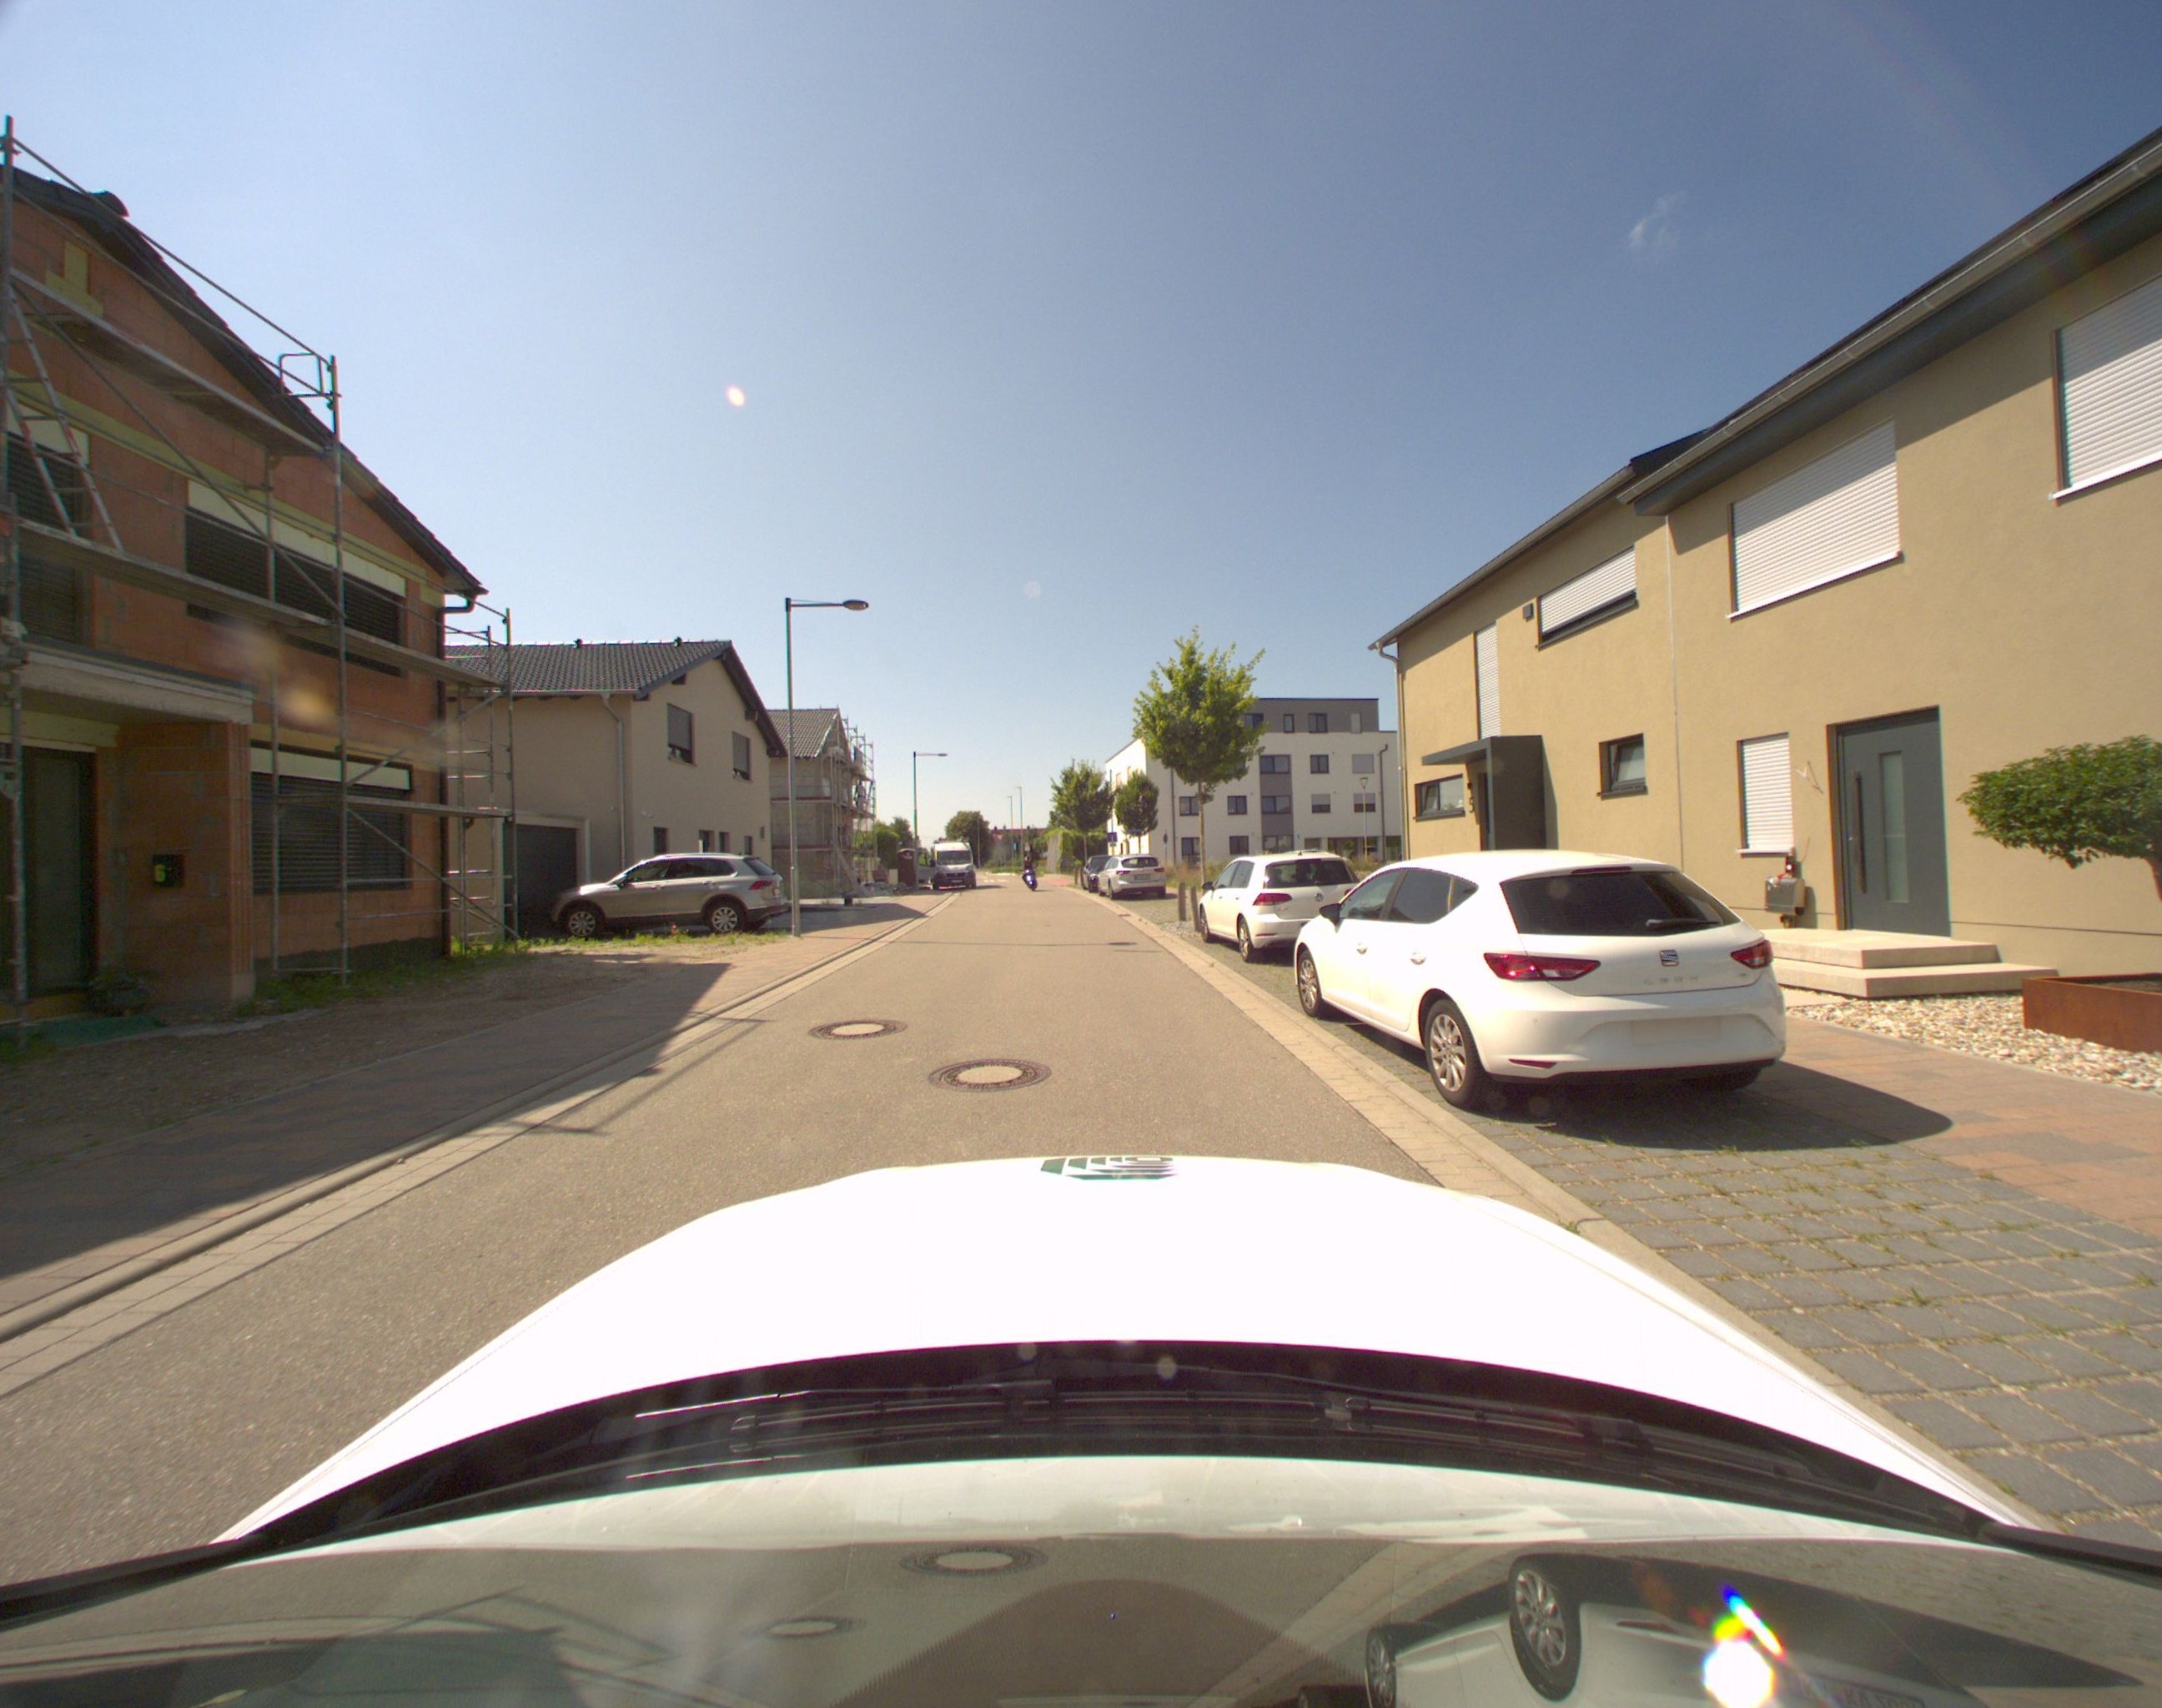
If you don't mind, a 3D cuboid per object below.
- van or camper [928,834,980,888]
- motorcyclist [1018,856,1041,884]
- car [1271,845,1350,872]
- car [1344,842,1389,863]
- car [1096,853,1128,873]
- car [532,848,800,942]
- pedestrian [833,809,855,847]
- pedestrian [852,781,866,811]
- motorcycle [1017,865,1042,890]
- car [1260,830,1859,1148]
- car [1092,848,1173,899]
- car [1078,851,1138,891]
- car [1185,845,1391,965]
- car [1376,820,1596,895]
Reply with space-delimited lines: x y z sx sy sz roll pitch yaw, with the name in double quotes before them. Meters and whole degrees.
"van or camper" -6.778 0.377 42.841 2.275 2.553 6.340 -2 -1 -12
"motorcyclist" -2.349 0.702 37.002 0.924 1.222 0.801 -2 0 -8
"car" 13.806 0.274 49.094 4.156 1.435 1.877 -2 -1 -9
"car" 22.655 -0.136 64.726 1.875 1.503 3.669 -2 -1 -7
"car" 2.312 0.650 61.251 1.677 1.469 4.104 -1 0 -9
"car" -8.351 0.780 16.791 4.420 1.612 1.996 -2 0 -7
"pedestrian" -11.004 -1.204 37.846 0.571 1.680 0.753 -5 -3 41
"pedestrian" -11.773 -3.061 43.187 0.561 1.500 0.746 -2 -2 -8
"motorcycle" -2.356 1.042 37.159 0.955 1.035 2.430 -2 1 -7
"car" 2.886 0.668 6.312 1.809 1.456 4.561 -3 0 -2
"car" 1.687 0.624 28.566 1.916 1.511 5.283 -3 1 -6
"car" 1.061 0.658 34.590 1.915 1.469 5.132 -3 1 -4
"car" 2.934 0.627 12.644 1.776 1.426 4.509 -3 1 -3
"car" 10.478 0.106 21.280 4.738 1.644 1.996 -3 -1 -5
